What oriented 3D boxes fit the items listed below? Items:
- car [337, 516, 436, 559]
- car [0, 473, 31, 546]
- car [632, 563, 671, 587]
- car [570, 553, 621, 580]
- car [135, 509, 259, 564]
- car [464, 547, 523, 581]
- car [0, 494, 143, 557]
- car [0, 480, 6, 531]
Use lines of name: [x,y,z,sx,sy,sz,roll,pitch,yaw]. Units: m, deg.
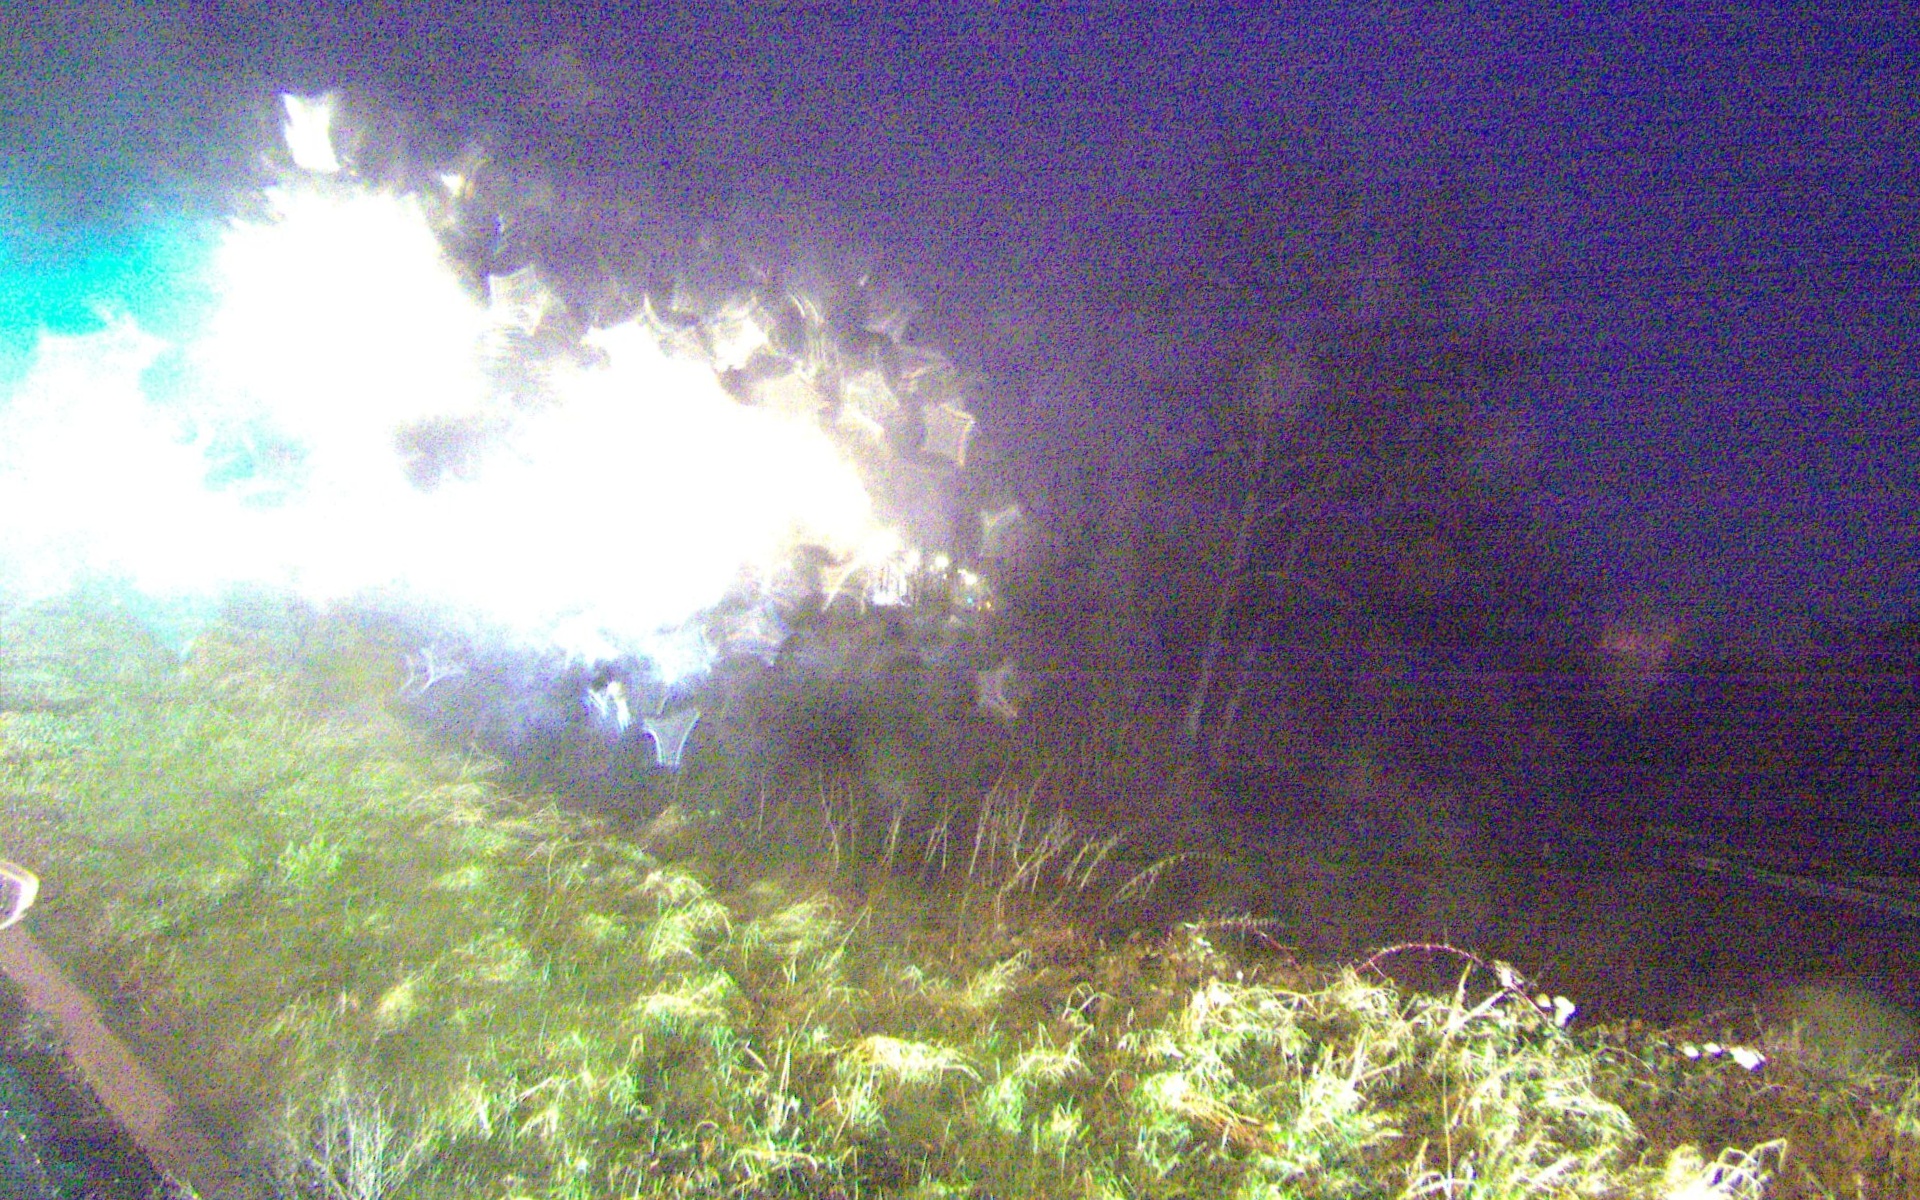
car: [-27.380,-2.961,48.230,1.748,1.502,4.414,6,0,7]
car: [-38.877,-3.795,37.732,2.213,2.741,5.615,7,-2,6]
car: [-28.360,-2.266,92.616,1.770,1.685,4.493,7,-2,5]
car: [-26.695,-2.399,73.871,1.784,1.597,4.307,6,0,4]
car: [-31.712,-2.588,41.956,1.770,1.685,3.980,7,-2,5]
car: [-32.927,-2.535,71.113,1.794,1.870,4.005,7,-2,5]
car: [-35.398,-2.919,40.178,1.732,1.870,4.129,7,-2,5]
car: [-35.761,-3.605,34.443,1.770,1.820,4.254,7,-2,5]
